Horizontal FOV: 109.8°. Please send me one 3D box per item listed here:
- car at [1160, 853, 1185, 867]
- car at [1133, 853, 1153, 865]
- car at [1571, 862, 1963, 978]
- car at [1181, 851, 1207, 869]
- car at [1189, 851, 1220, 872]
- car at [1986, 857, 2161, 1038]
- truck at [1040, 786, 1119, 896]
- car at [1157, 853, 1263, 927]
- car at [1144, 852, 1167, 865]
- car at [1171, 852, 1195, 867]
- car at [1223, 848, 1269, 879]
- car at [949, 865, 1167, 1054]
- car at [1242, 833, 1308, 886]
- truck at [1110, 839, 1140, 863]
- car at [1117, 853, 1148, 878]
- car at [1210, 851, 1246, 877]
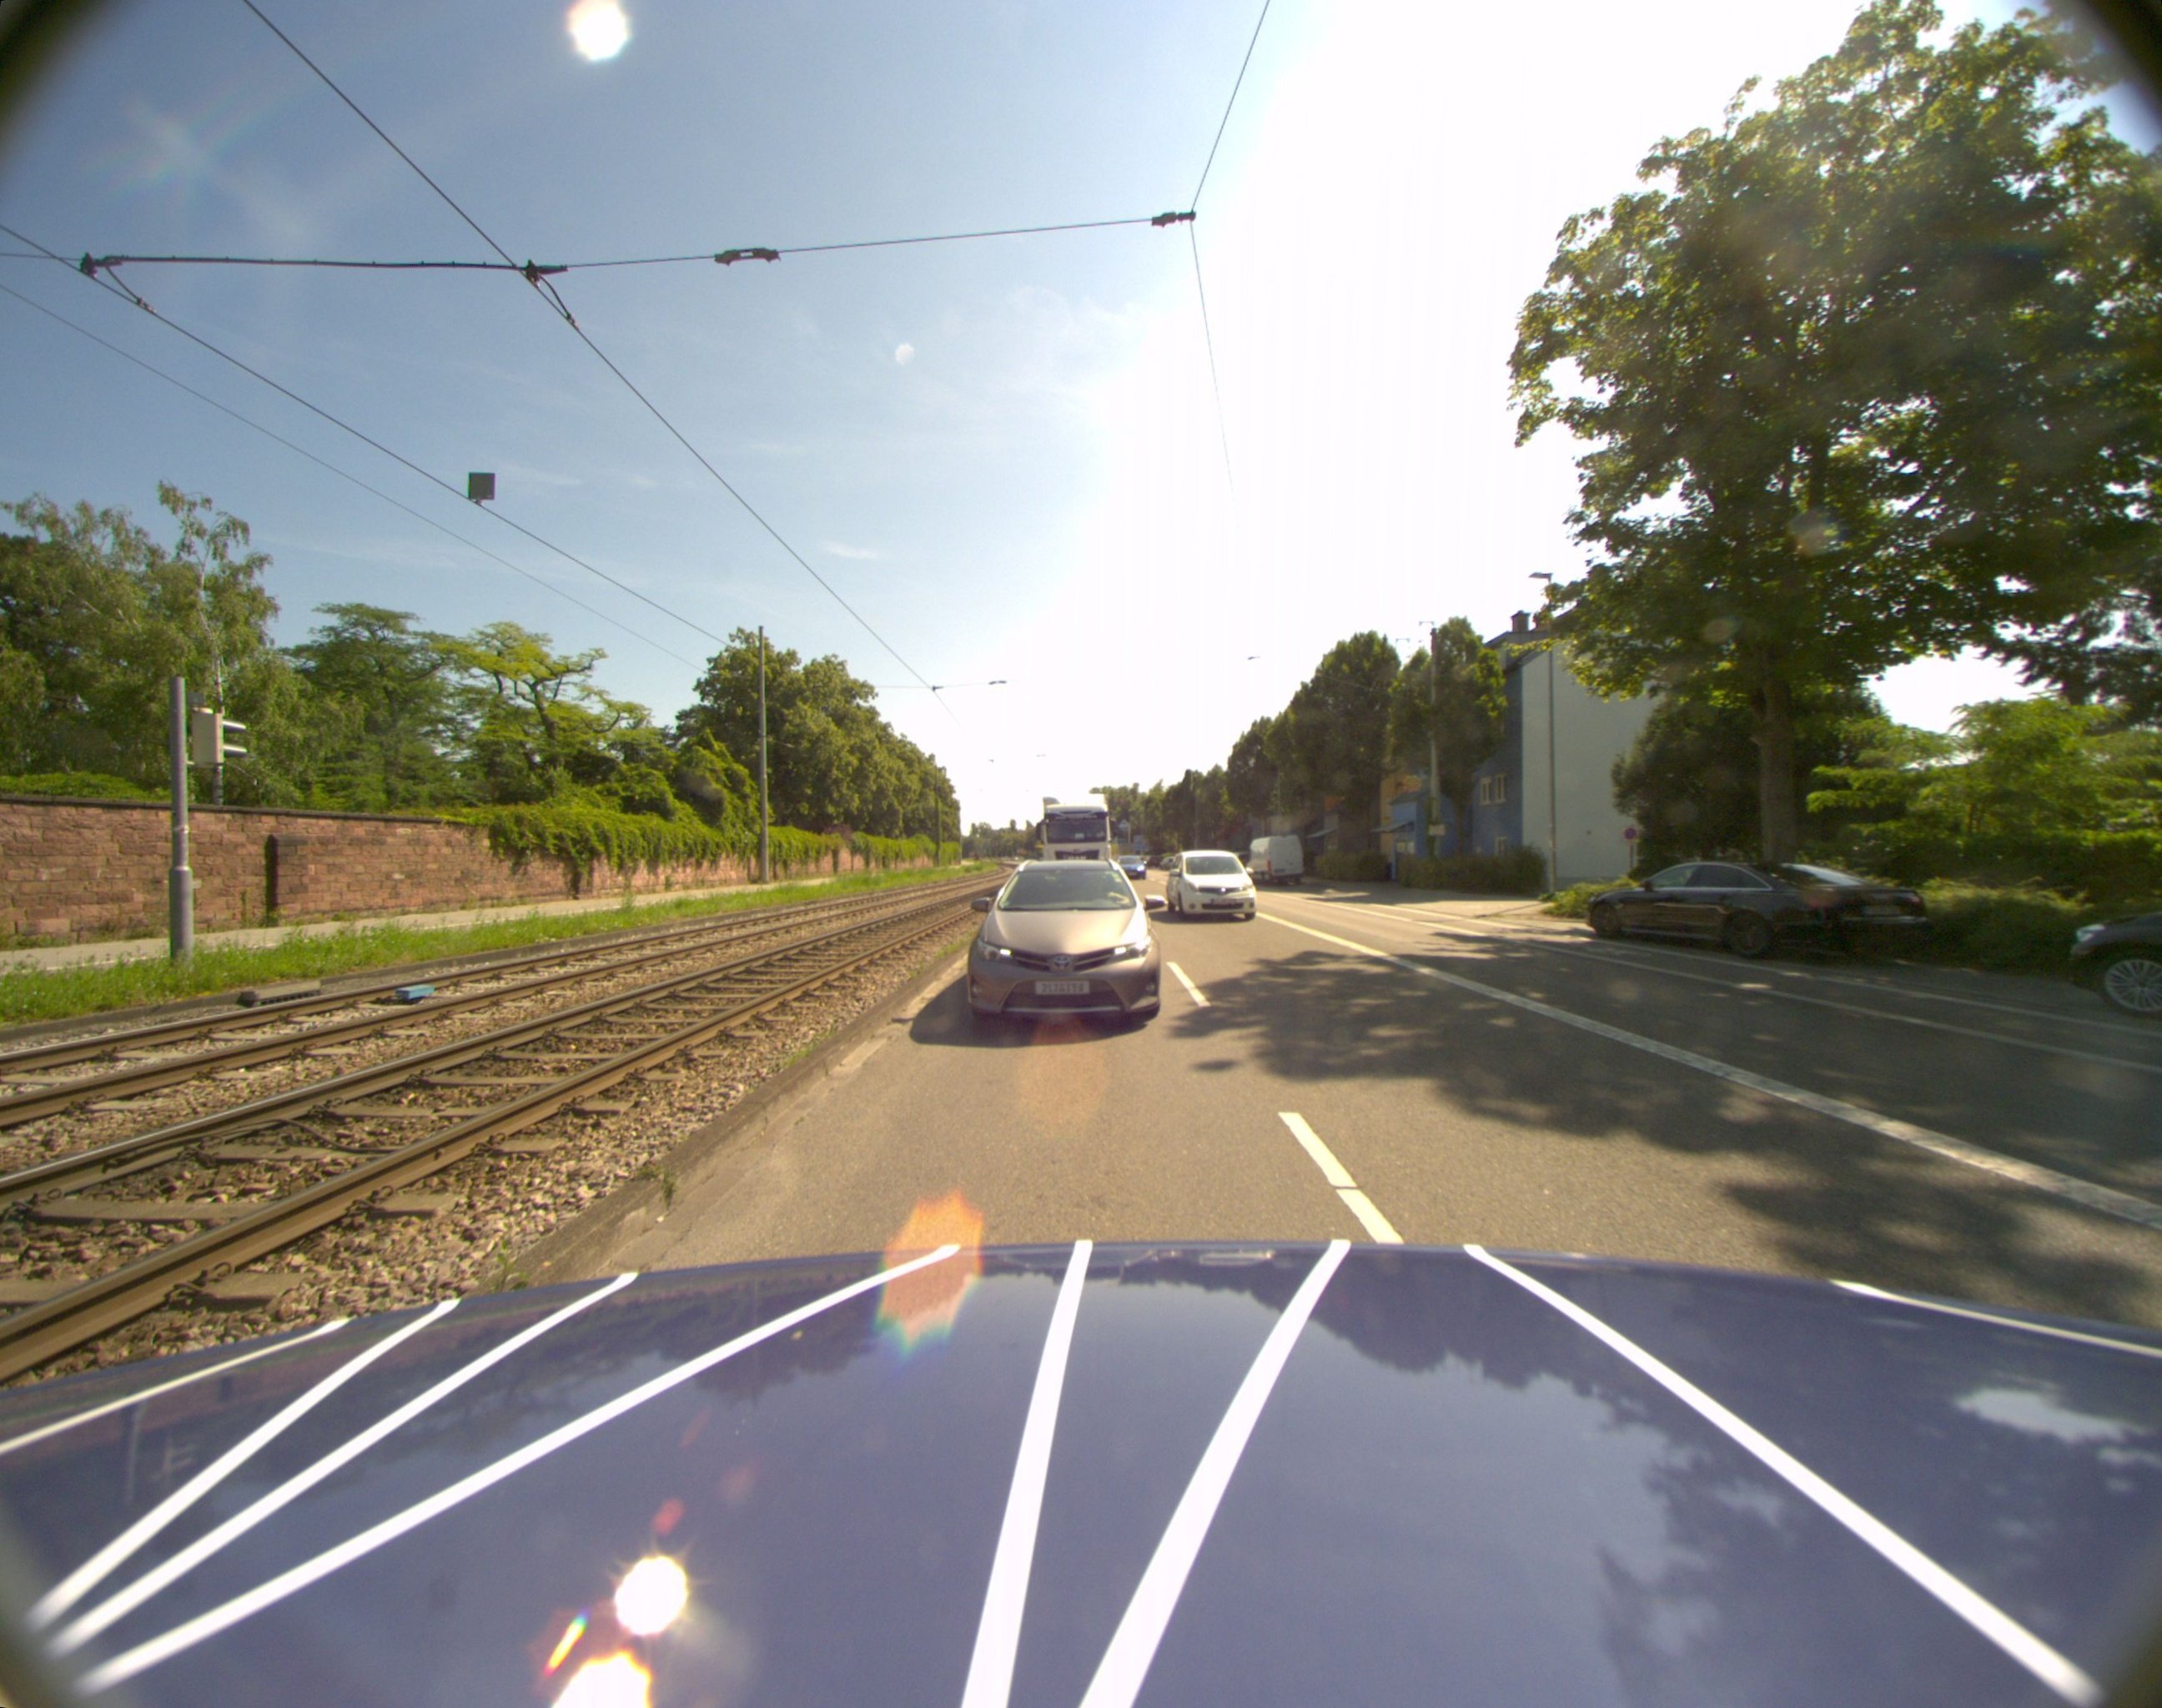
[{"bbox_3d":[10.314,0.644,85.746,1.682,1.437,4.835,-2,1,-6],"label":"car"},{"bbox_3d":[8.518,0.671,105.055,2.040,1.490,4.130,-2,1,-6],"label":"car"},{"bbox_3d":[10.612,0.890,12.446,1.845,1.457,4.908,0,0,-3],"label":"car"},{"bbox_3d":[10.792,0.519,72.720,1.681,1.598,4.164,-2,1,-3],"label":"car"},{"bbox_3d":[10.943,0.662,67.658,1.834,1.718,4.348,-3,1,-3],"label":"car"},{"bbox_3d":[10.555,0.844,5.687,1.766,1.596,4.893,-1,0,0],"label":"car"},{"bbox_3d":[0.020,-0.489,33.028,2.805,3.926,11.943,0,0,1],"label":"truck"},{"bbox_3d":[3.008,0.768,18.602,1.784,1.538,4.394,-2,0,0],"label":"car"},{"bbox_3d":[9.434,0.567,97.026,1.911,1.567,4.929,-2,1,-6],"label":"car"},{"bbox_3d":[10.588,0.585,79.073,1.681,1.462,4.212,-2,1,-4],"label":"car"},{"bbox_3d":[11.159,0.634,51.760,1.998,1.855,4.966,-5,0,1],"label":"car"},{"bbox_3d":[-0.154,0.902,8.754,1.747,1.421,5.041,-1,0,1],"label":"car"},{"bbox_3d":[10.998,0.270,43.607,1.998,2.661,7.086,-4,0,1],"label":"car"},{"bbox_3d":[6.736,-0.460,117.093,3.165,3.533,8.779,0,0,-6],"label":"truck"},{"bbox_3d":[3.212,0.718,47.909,1.659,1.517,3.792,0,0,0],"label":"car"},{"bbox_3d":[11.013,0.728,57.288,1.853,1.693,4.540,-4,1,1],"label":"car"}]
